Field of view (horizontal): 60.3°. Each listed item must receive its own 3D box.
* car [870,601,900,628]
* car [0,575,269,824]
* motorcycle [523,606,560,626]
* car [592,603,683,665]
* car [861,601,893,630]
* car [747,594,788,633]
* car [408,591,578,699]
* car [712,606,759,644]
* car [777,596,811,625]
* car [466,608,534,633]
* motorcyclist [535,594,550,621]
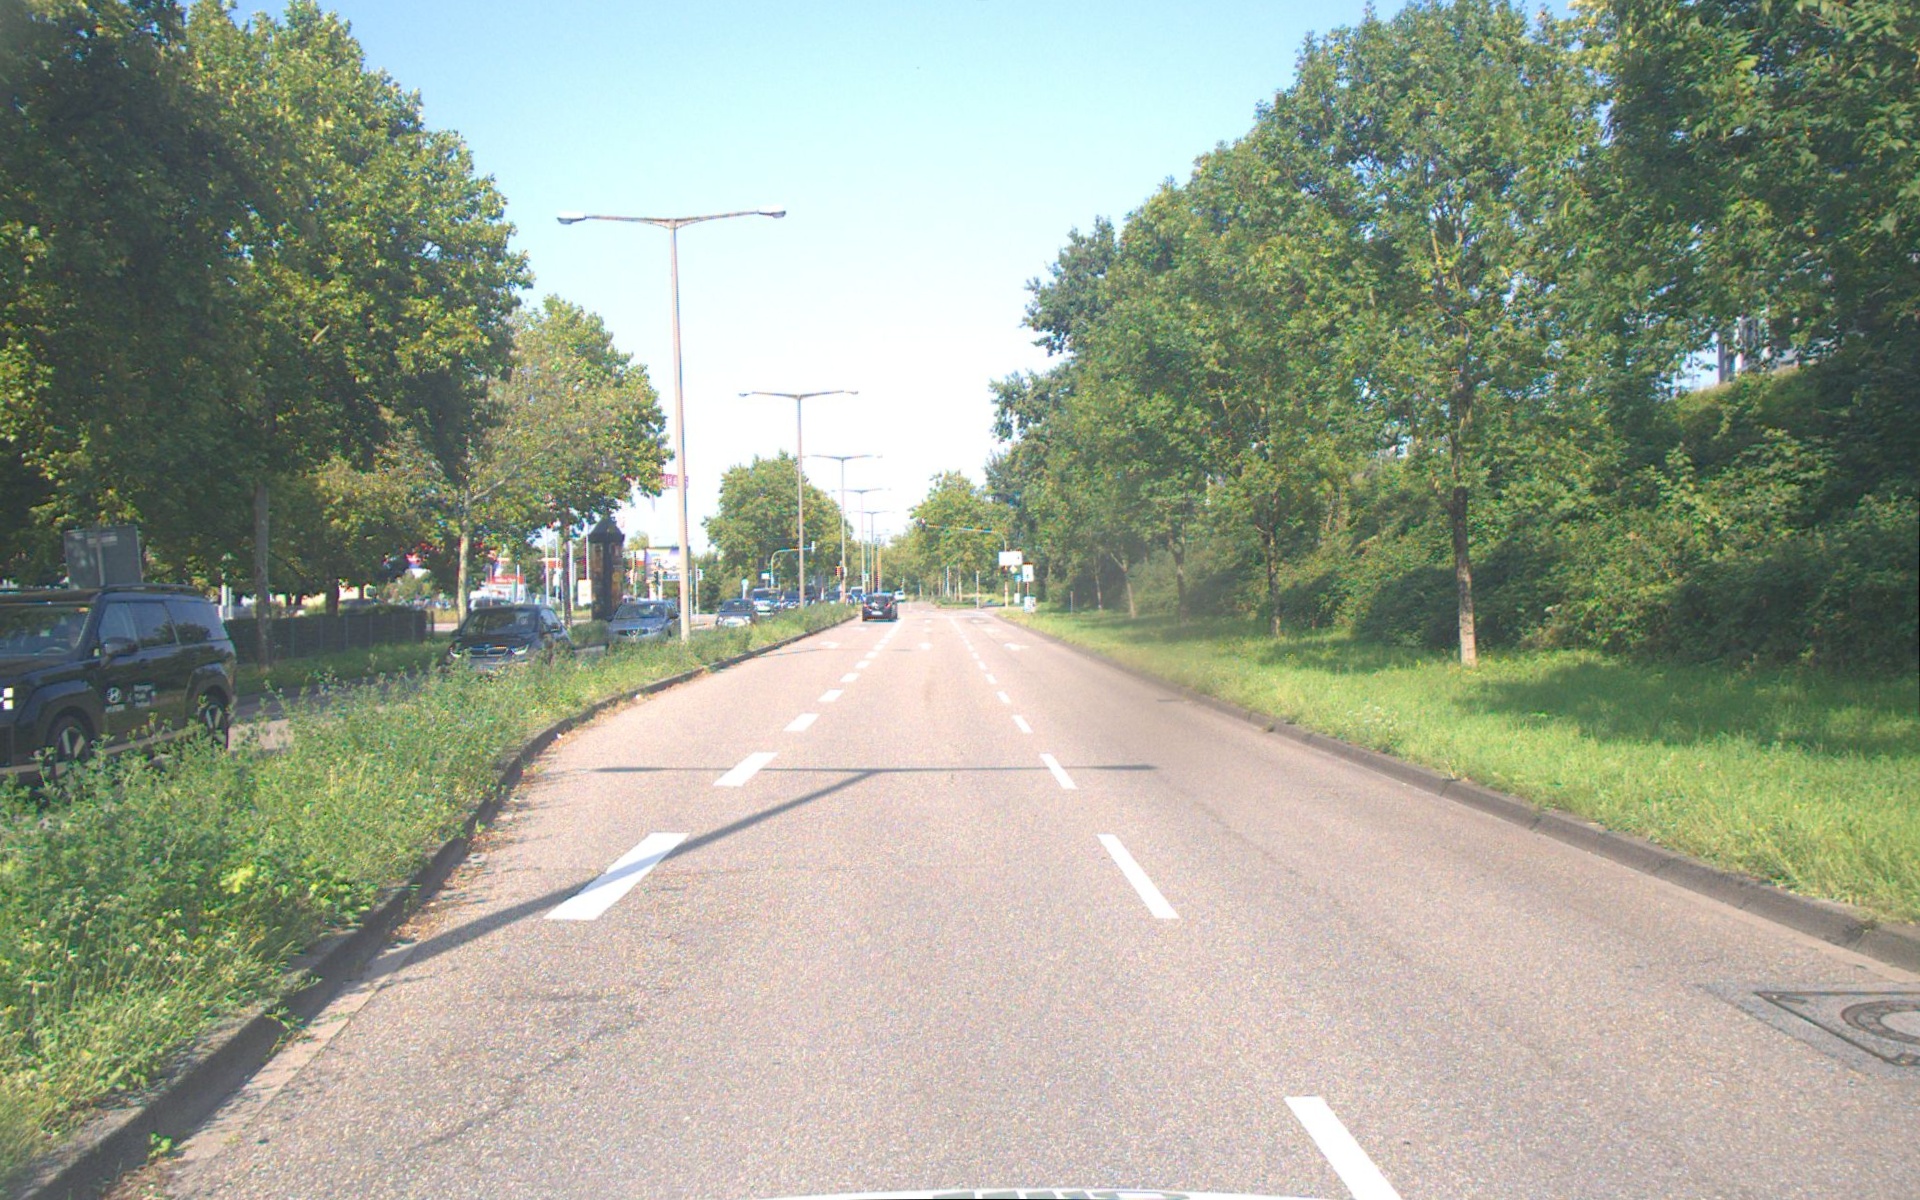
[{"bbox_3d":[-4.494,0.866,99.170,1.658,1.512,3.999,-1,0,-1],"label":"car"},{"bbox_3d":[-7.833,0.772,14.144,1.953,1.790,4.476,-3,0,-1],"label":"car"},{"bbox_3d":[-24.890,0.965,98.326,2.054,1.156,0.668,0,-1,-37],"label":"motorcycle"},{"bbox_3d":[-9.172,0.933,47.331,1.841,1.621,4.107,-2,0,-1],"label":"car"},{"bbox_3d":[-4.640,0.854,92.845,1.658,1.512,3.999,-1,0,-1],"label":"car"},{"bbox_3d":[-10.848,0.747,93.614,1.893,2.063,4.565,-1,0,-2],"label":"car"},{"bbox_3d":[-8.692,0.800,31.164,1.953,1.790,4.306,-3,0,-1],"label":"car"},{"bbox_3d":[-9.457,1.036,69.861,1.642,1.512,3.491,0,0,-2],"label":"car"},{"bbox_3d":[-11.711,0.735,117.056,1.955,1.734,4.502,-7,0,-3],"label":"car"},{"bbox_3d":[-27.747,1.209,99.778,3.664,1.468,1.447,0,0,-38],"label":"car"},{"bbox_3d":[-24.840,0.445,98.365,0.676,1.599,0.674,0,0,-37],"label":"motorcyclist"}]
